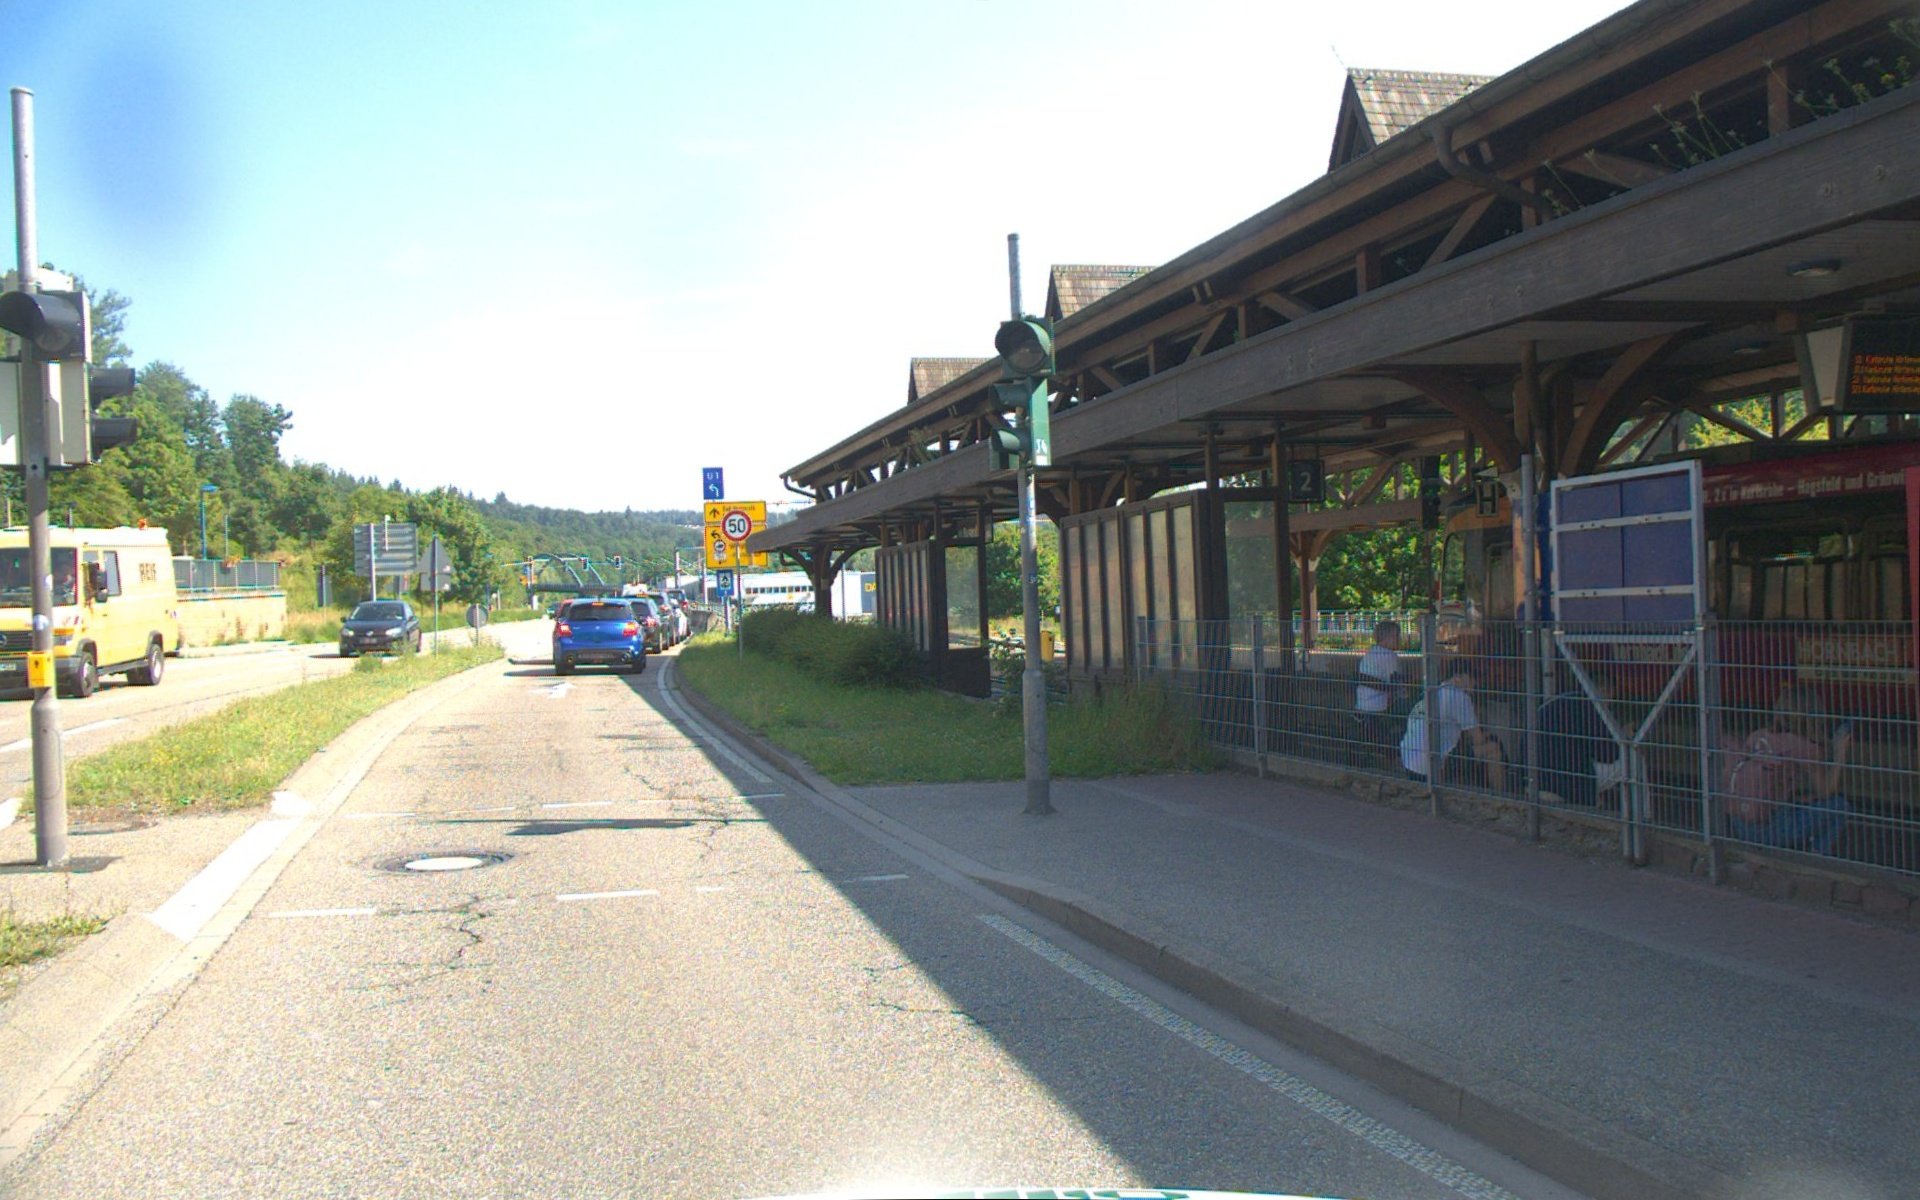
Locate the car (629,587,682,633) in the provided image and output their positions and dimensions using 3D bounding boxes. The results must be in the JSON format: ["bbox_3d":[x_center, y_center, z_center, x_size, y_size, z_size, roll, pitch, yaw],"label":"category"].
[{"bbox_3d":[-11.872,0.378,64.687,1.957,1.766,3.991,0,0,-9],"label":"car"}]

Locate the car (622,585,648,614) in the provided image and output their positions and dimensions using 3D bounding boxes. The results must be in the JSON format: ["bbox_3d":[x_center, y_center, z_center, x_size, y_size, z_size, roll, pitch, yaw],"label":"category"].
[{"bbox_3d":[-25.377,-0.023,129.117,1.958,2.182,4.707,0,0,-11],"label":"car"}]

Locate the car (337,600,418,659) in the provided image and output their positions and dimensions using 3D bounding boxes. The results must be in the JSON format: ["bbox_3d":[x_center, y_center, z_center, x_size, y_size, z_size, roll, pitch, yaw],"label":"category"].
[{"bbox_3d":[-15.902,0.767,45.308,1.716,1.488,4.028,-2,0,-14],"label":"car"}]

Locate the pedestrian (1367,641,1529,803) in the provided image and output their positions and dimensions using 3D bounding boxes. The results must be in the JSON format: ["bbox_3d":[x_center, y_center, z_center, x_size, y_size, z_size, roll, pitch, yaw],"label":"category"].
[{"bbox_3d":[3.246,0.788,11.042,0.731,0.999,0.765,0,1,-19],"label":"pedestrian"}]

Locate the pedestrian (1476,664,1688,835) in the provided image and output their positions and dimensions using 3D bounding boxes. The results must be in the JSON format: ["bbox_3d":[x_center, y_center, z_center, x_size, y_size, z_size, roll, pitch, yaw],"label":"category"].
[{"bbox_3d":[3.600,0.845,9.614,0.832,0.889,0.803,0,1,-19],"label":"pedestrian"}]

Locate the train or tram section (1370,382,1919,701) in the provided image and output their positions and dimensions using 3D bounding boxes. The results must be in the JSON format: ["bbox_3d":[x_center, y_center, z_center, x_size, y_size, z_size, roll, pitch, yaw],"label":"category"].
[{"bbox_3d":[10.101,-0.668,23.580,2.711,3.423,11.996,0,0,-16],"label":"train or tram section"}]

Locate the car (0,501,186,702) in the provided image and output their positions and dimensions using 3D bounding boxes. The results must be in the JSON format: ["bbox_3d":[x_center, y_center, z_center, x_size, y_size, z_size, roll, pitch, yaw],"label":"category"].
[{"bbox_3d":[-15.422,0.037,28.393,2.424,3.063,6.447,0,0,-12],"label":"car"}]

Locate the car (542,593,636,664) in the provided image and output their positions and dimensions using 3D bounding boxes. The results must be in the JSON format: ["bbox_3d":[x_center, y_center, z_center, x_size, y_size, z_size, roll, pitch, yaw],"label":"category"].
[{"bbox_3d":[-8.816,0.650,39.571,1.957,1.599,3.991,0,0,-9],"label":"car"}]

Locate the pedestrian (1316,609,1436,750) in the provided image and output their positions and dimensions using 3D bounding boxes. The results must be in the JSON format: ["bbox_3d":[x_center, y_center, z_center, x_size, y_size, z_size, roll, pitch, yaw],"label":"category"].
[{"bbox_3d":[3.476,0.649,13.857,0.731,1.136,0.664,0,1,-19],"label":"pedestrian"}]

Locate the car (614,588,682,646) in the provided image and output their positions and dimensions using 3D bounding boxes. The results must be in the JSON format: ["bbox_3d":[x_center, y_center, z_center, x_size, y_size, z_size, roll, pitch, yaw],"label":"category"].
[{"bbox_3d":[-9.562,0.498,50.966,1.957,1.716,4.487,0,0,-9],"label":"car"}]

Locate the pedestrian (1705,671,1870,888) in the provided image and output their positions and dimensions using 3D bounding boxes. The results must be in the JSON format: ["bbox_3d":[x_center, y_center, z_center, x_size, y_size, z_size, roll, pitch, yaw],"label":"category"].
[{"bbox_3d":[4.009,0.851,8.024,0.608,0.983,0.404,0,1,-19],"label":"pedestrian"}]

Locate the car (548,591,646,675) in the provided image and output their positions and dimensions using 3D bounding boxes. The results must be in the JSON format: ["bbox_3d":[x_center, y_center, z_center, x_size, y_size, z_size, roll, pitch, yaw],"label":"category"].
[{"bbox_3d":[-7.440,0.633,34.075,1.835,1.575,3.988,-1,0,-12],"label":"car"}]

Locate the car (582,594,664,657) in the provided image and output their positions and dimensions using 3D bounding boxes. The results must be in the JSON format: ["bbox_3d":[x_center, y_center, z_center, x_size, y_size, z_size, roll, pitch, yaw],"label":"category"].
[{"bbox_3d":[-9.075,0.638,44.874,1.957,1.558,4.591,-2,0,-9],"label":"car"}]

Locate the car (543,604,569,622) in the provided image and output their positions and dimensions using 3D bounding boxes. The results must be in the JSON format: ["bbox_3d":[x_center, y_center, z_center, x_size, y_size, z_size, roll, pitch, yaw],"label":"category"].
[{"bbox_3d":[-35.835,1.131,146.722,1.758,1.496,4.707,-1,0,-8],"label":"car"}]
